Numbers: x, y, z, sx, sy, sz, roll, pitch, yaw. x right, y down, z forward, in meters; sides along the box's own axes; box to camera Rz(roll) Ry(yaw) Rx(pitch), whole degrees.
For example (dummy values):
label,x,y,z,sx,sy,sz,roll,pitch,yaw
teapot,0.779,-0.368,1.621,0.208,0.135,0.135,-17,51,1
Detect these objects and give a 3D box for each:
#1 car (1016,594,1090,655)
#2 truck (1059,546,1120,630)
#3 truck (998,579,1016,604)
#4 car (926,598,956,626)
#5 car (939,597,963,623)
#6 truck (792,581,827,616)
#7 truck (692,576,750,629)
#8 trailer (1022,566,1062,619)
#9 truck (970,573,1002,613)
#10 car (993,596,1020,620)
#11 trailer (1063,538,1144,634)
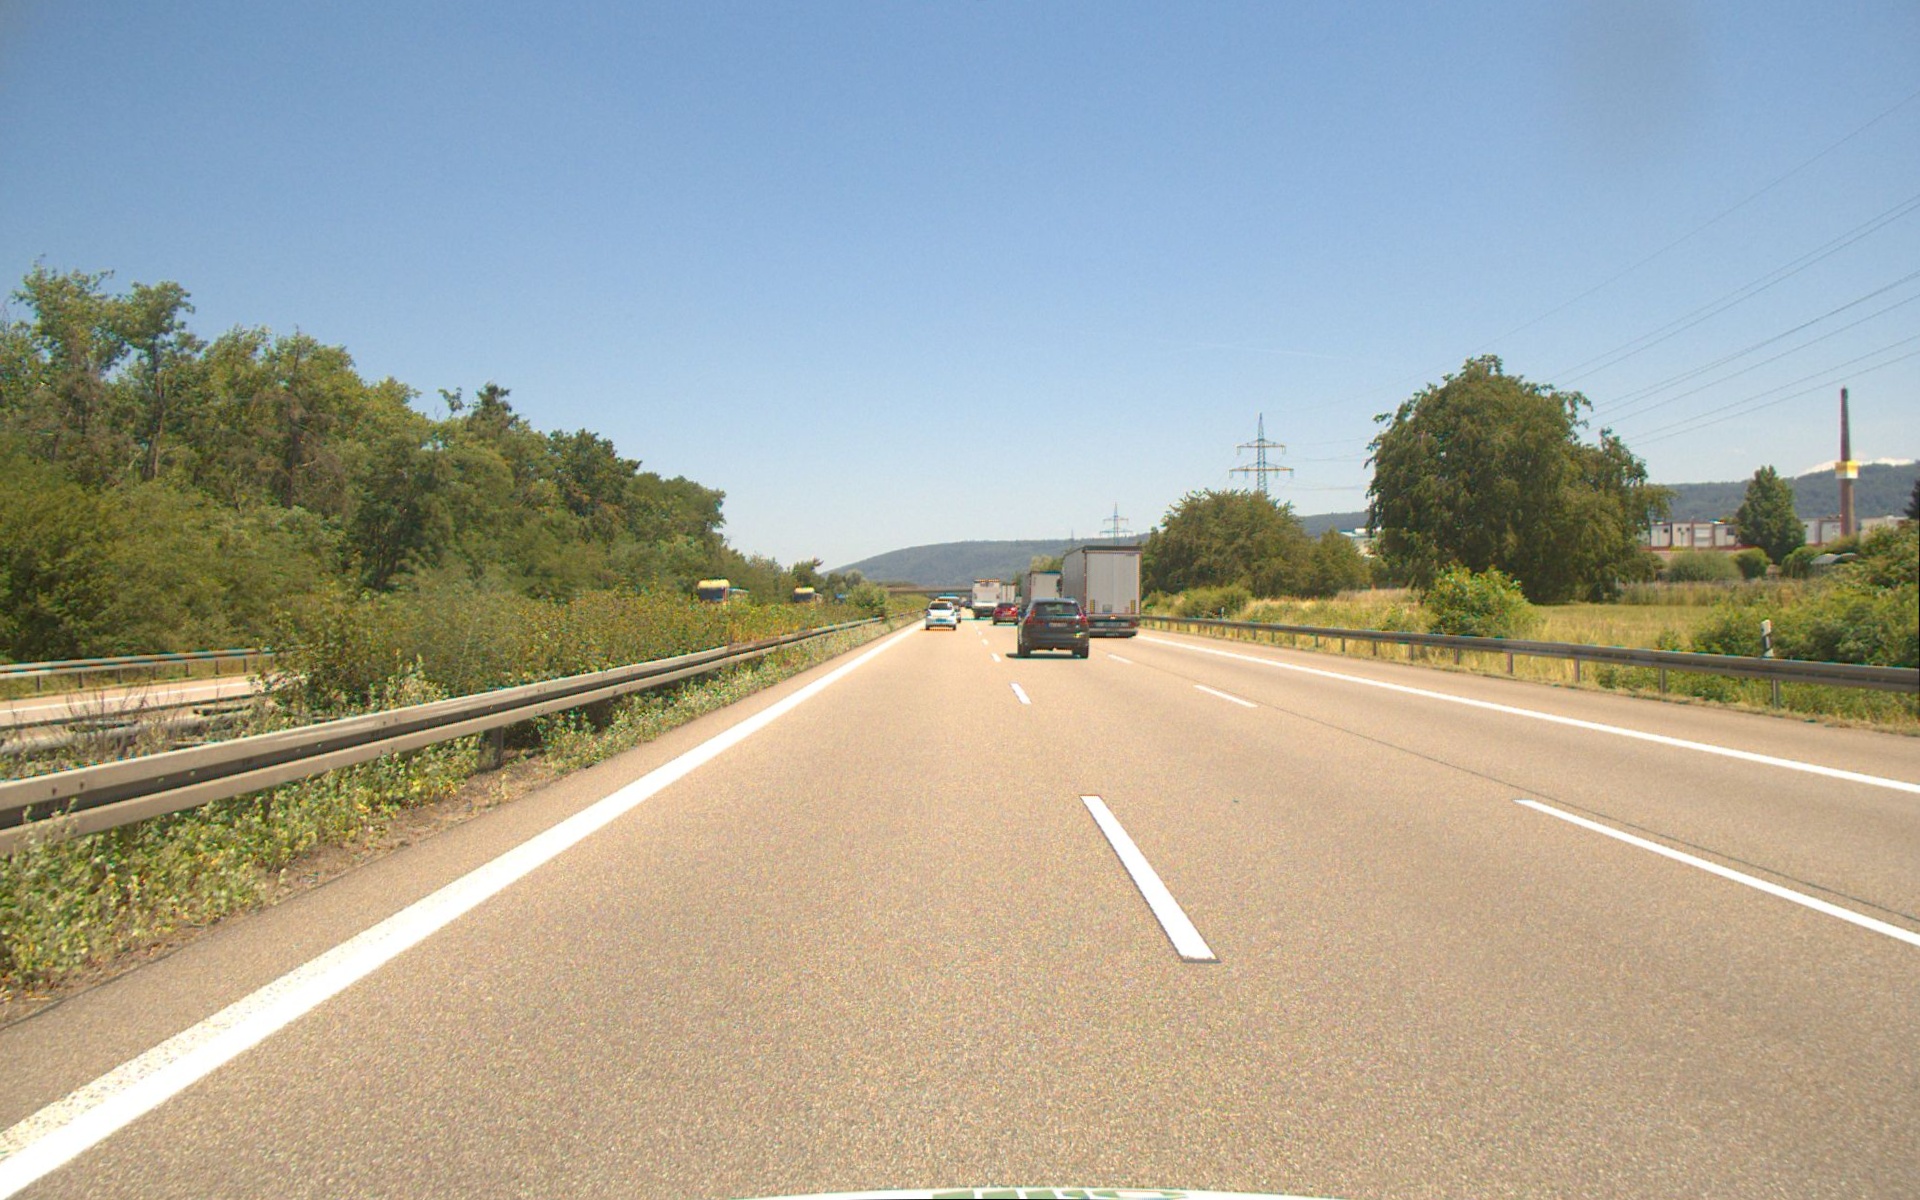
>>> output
label,x,y,z,sx,sy,sz,roll,pitch,yaw
car,2.591,0.674,46.911,1.835,1.652,4.003,0,0,0
truck,6.668,-0.595,85.954,2.680,4.192,6.124,0,0,0
truck,6.537,-1.174,230.263,2.176,3.265,10.384,-1,0,0
car,-1.019,0.626,89.730,1.574,1.493,3.999,-1,0,-1
car,-0.650,0.721,121.882,1.725,1.883,3.999,-1,0,-1
truck,-17.272,-0.201,190.464,2.840,3.770,11.898,-3,0,0
truck,-17.818,0.195,123.898,2.486,3.698,11.843,-2,0,0
trailer,6.926,-0.616,141.440,2.731,4.236,13.574,-1,0,0
truck,2.313,-0.594,149.380,2.725,3.432,8.126,0,0,0
car,3.190,0.543,113.710,1.766,1.572,4.000,0,0,0
trailer,6.681,-0.585,78.580,2.680,4.178,13.121,0,0,0
